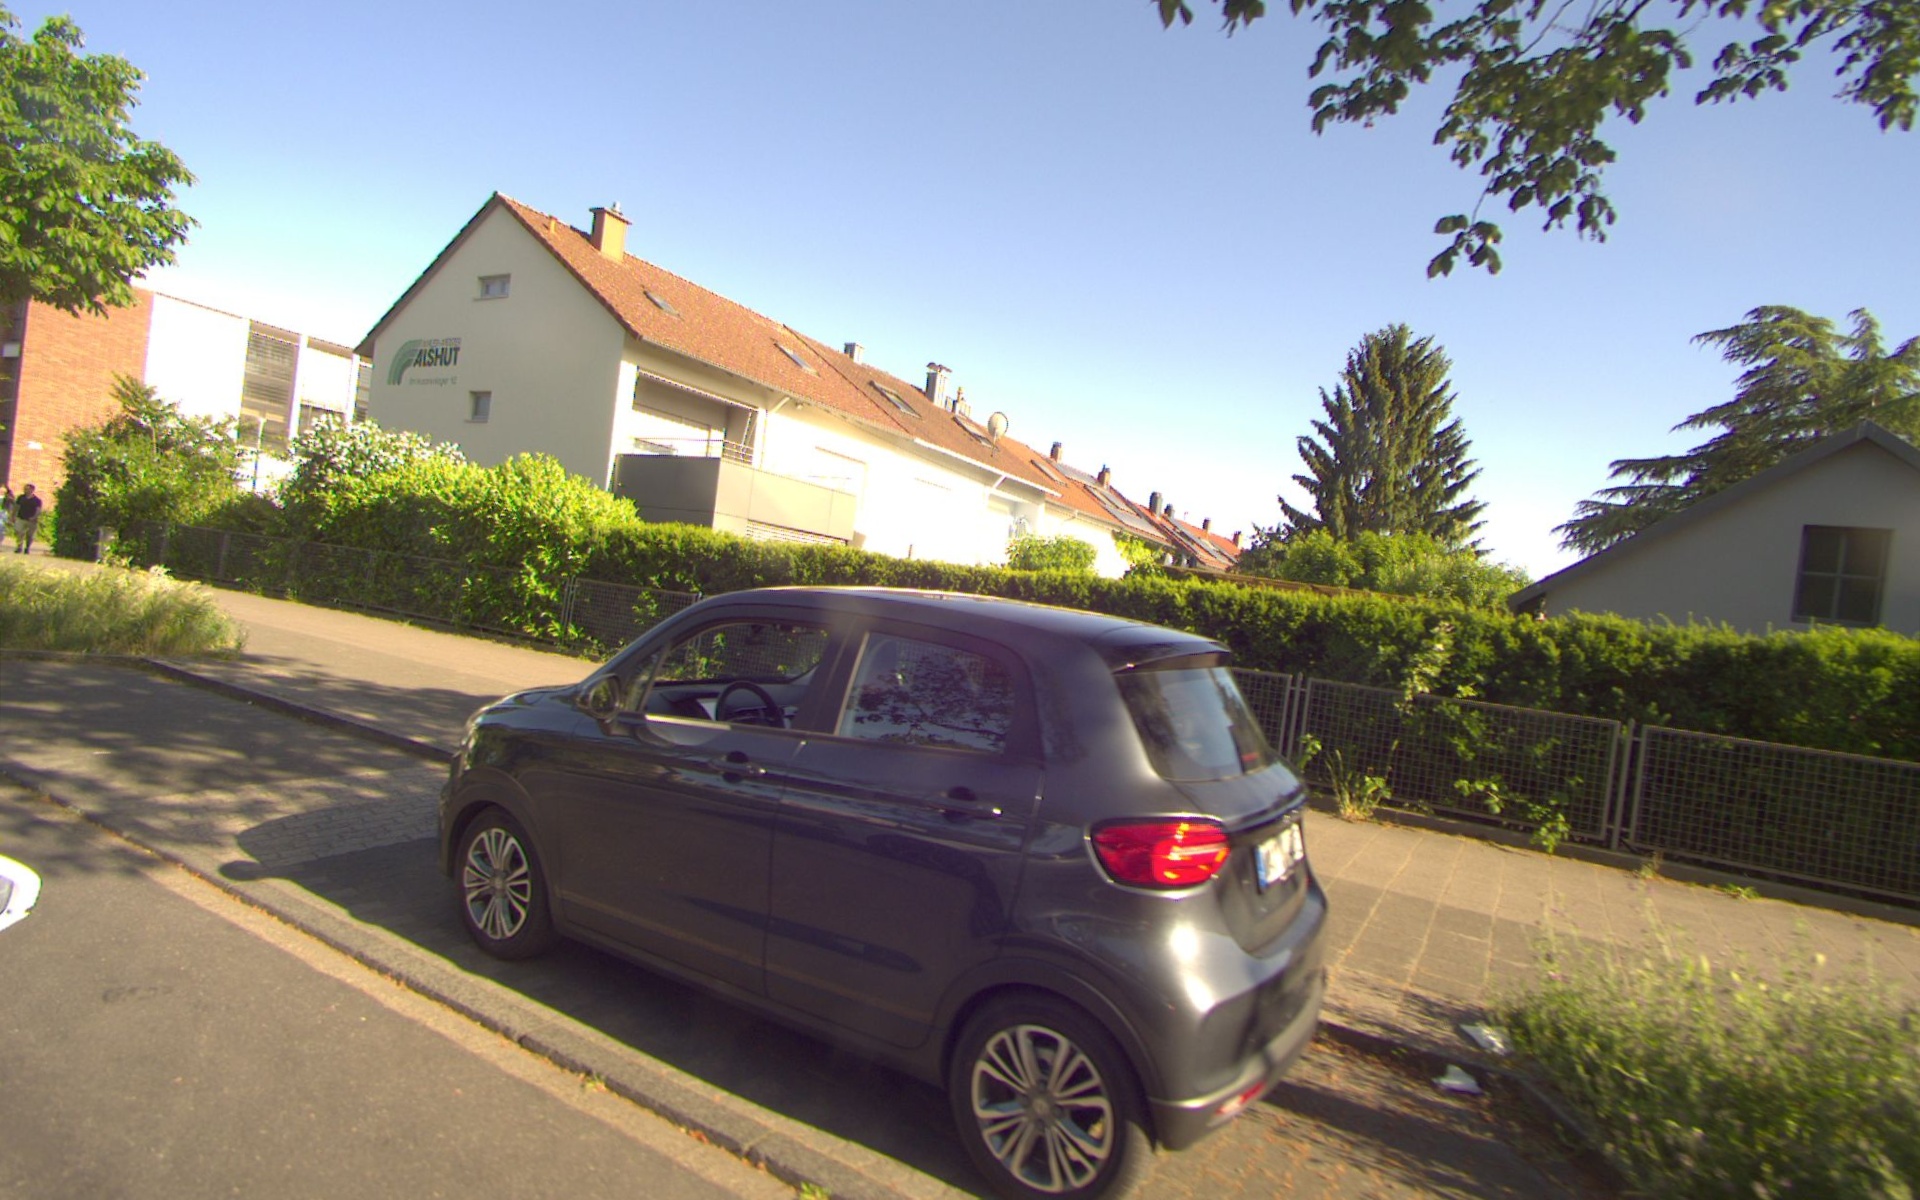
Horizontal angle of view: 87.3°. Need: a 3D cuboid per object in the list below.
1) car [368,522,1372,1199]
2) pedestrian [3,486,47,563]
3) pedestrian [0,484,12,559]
[{"bbox_3d":[-0.493,0.673,3.871,3.540,1.595,1.494,7,2,31],"label":"car"},{"bbox_3d":[-22.752,-1.828,24.486,0.604,1.753,0.632,8,-1,-43],"label":"pedestrian"},{"bbox_3d":[-23.177,-1.904,24.070,0.552,1.753,0.653,8,-1,-43],"label":"pedestrian"}]
